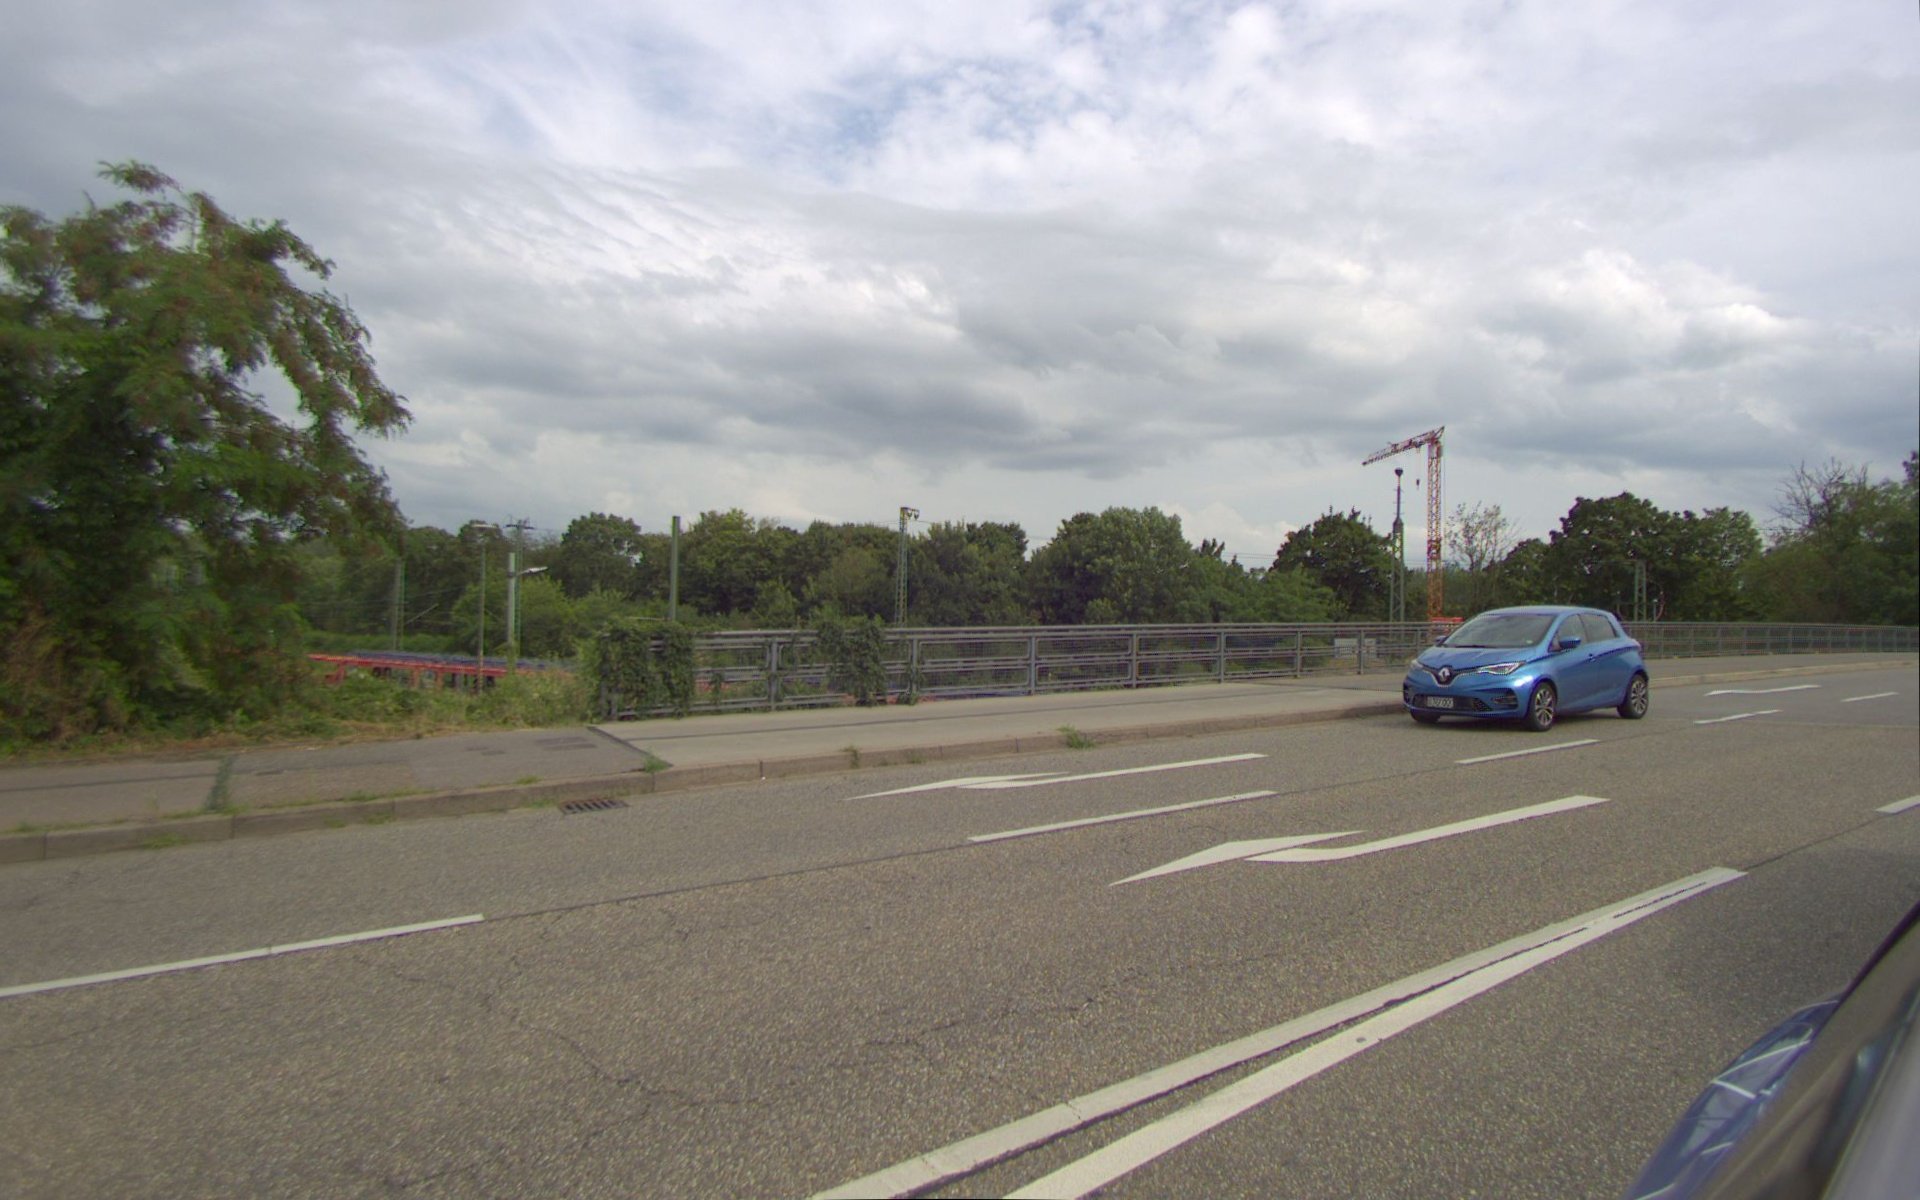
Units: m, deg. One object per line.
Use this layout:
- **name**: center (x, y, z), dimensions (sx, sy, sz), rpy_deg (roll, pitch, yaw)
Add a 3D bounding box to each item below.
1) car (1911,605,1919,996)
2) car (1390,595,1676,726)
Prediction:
- **car**: center (5.803, 0.705, 4.154), dimensions (4.639, 1.381, 1.854), rpy_deg (0, 0, -35)
- **car**: center (7.817, 0.738, 13.737), dimensions (3.872, 1.541, 1.727), rpy_deg (0, -2, -33)
